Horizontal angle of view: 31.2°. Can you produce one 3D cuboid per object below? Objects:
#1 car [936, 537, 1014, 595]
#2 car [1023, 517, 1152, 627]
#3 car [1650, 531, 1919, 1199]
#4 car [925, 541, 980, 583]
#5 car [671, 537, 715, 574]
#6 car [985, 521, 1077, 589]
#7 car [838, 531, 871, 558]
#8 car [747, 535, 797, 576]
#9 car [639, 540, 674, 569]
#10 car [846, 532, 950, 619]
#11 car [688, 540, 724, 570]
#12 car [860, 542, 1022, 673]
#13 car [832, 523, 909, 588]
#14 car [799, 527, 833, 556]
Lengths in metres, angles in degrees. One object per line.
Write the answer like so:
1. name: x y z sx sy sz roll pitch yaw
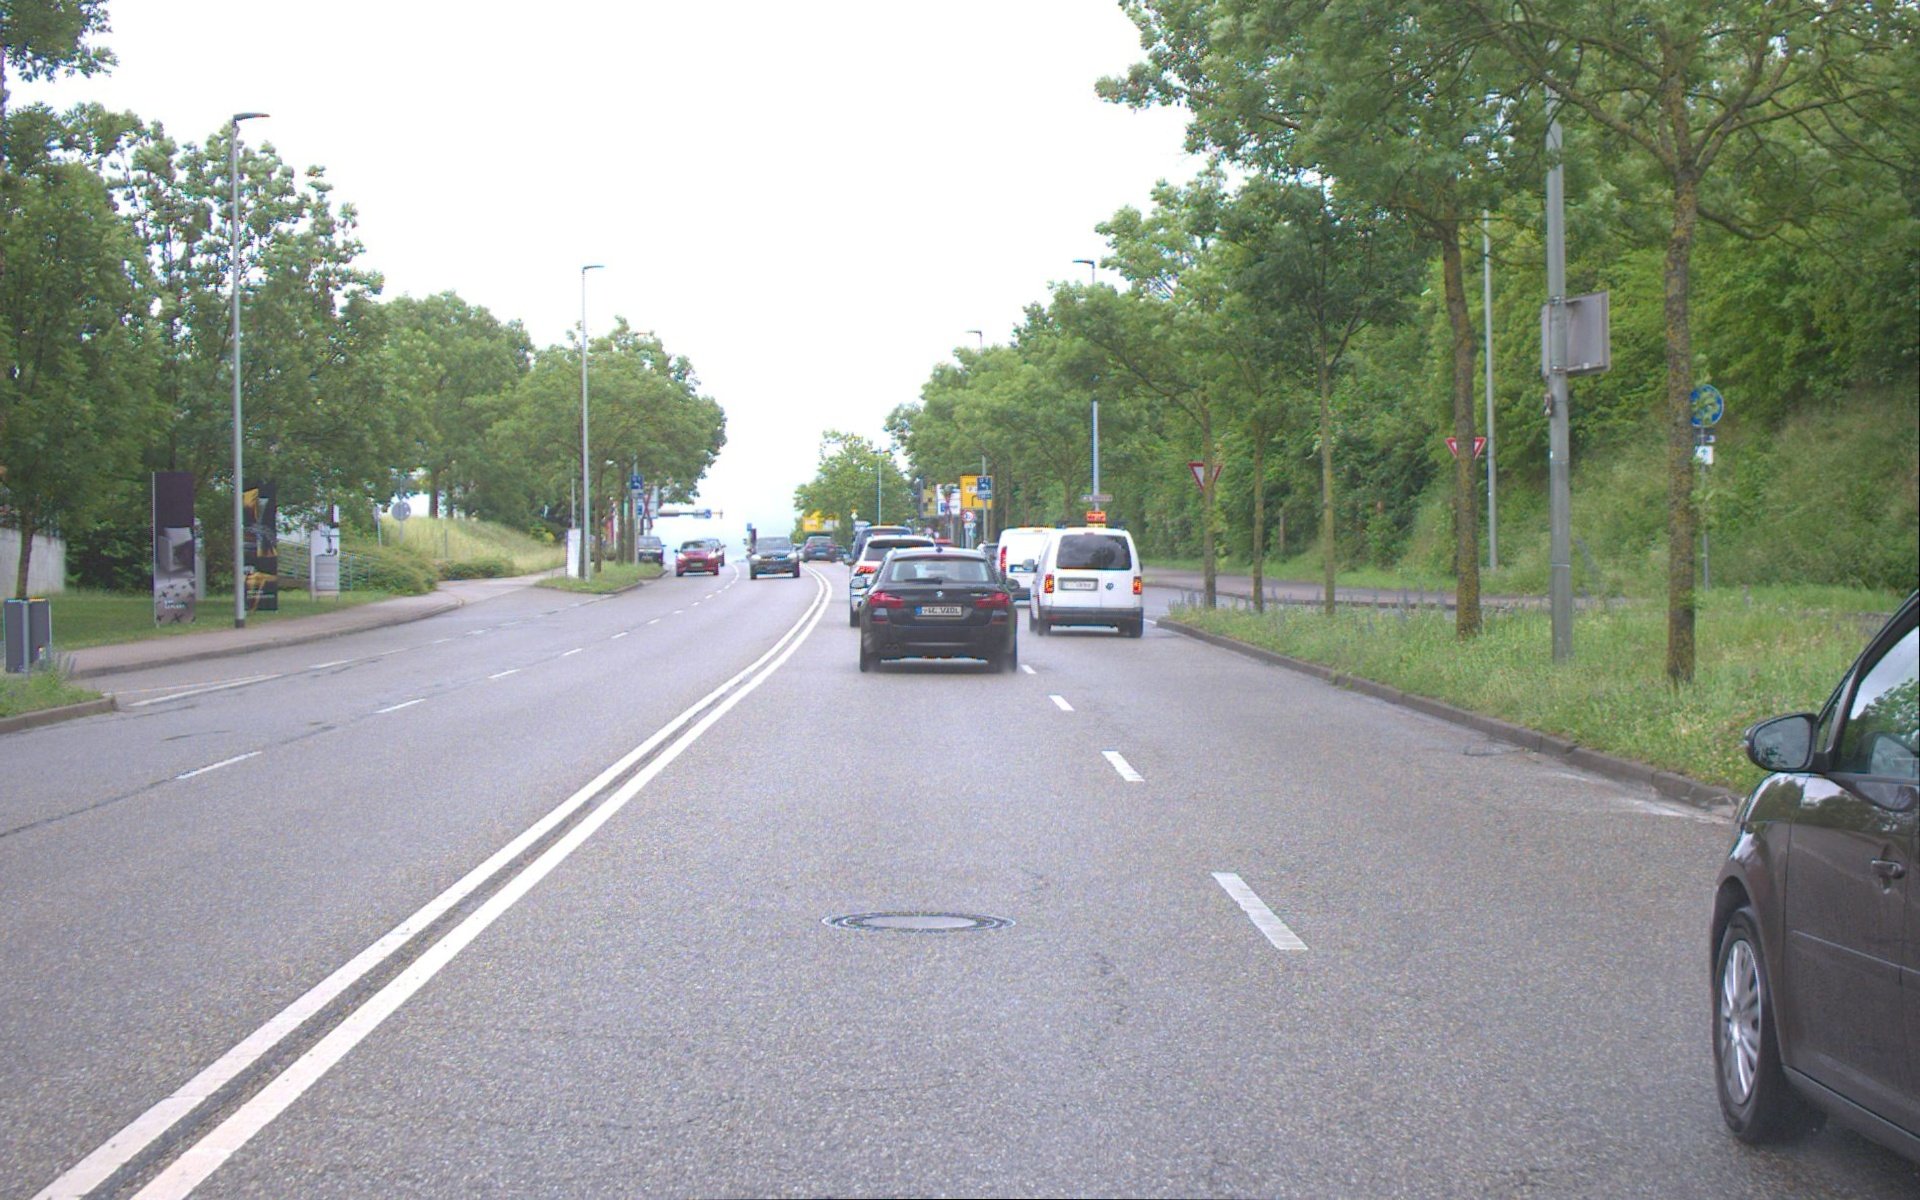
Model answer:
1. car: 0.391 -0.905 93.579 1.794 1.505 4.001 1 0 -4
2. car: 2.110 -0.493 57.970 1.827 1.753 4.001 1 1 -2
3. car: 2.797 0.648 7.347 1.685 1.575 4.219 1 1 -1
4. car: -0.299 -1.431 129.807 1.794 1.505 4.001 1 0 -4
5. car: -11.433 -1.906 147.317 1.794 1.505 4.001 1 0 -4
6. car: 1.625 -1.029 79.953 1.794 1.505 4.000 1 0 -3
7. car: -6.110 -3.196 198.252 1.794 1.505 4.000 1 0 -3
8. car: -7.211 -1.678 131.523 1.794 1.505 4.001 1 0 -4
9. car: -16.469 -2.472 186.828 1.794 1.505 4.001 1 0 -4
10. car: -1.165 -0.449 63.085 1.794 1.505 4.000 1 0 -2
11. car: -13.053 -2.304 176.839 1.794 1.505 4.001 1 0 -4
12. car: -0.228 0.049 41.250 1.827 1.463 4.000 -1 1 0
13. car: -2.222 -1.074 84.479 1.794 1.505 4.000 1 0 -2
14. car: -7.870 -3.201 188.053 1.794 1.505 4.000 1 0 -3
